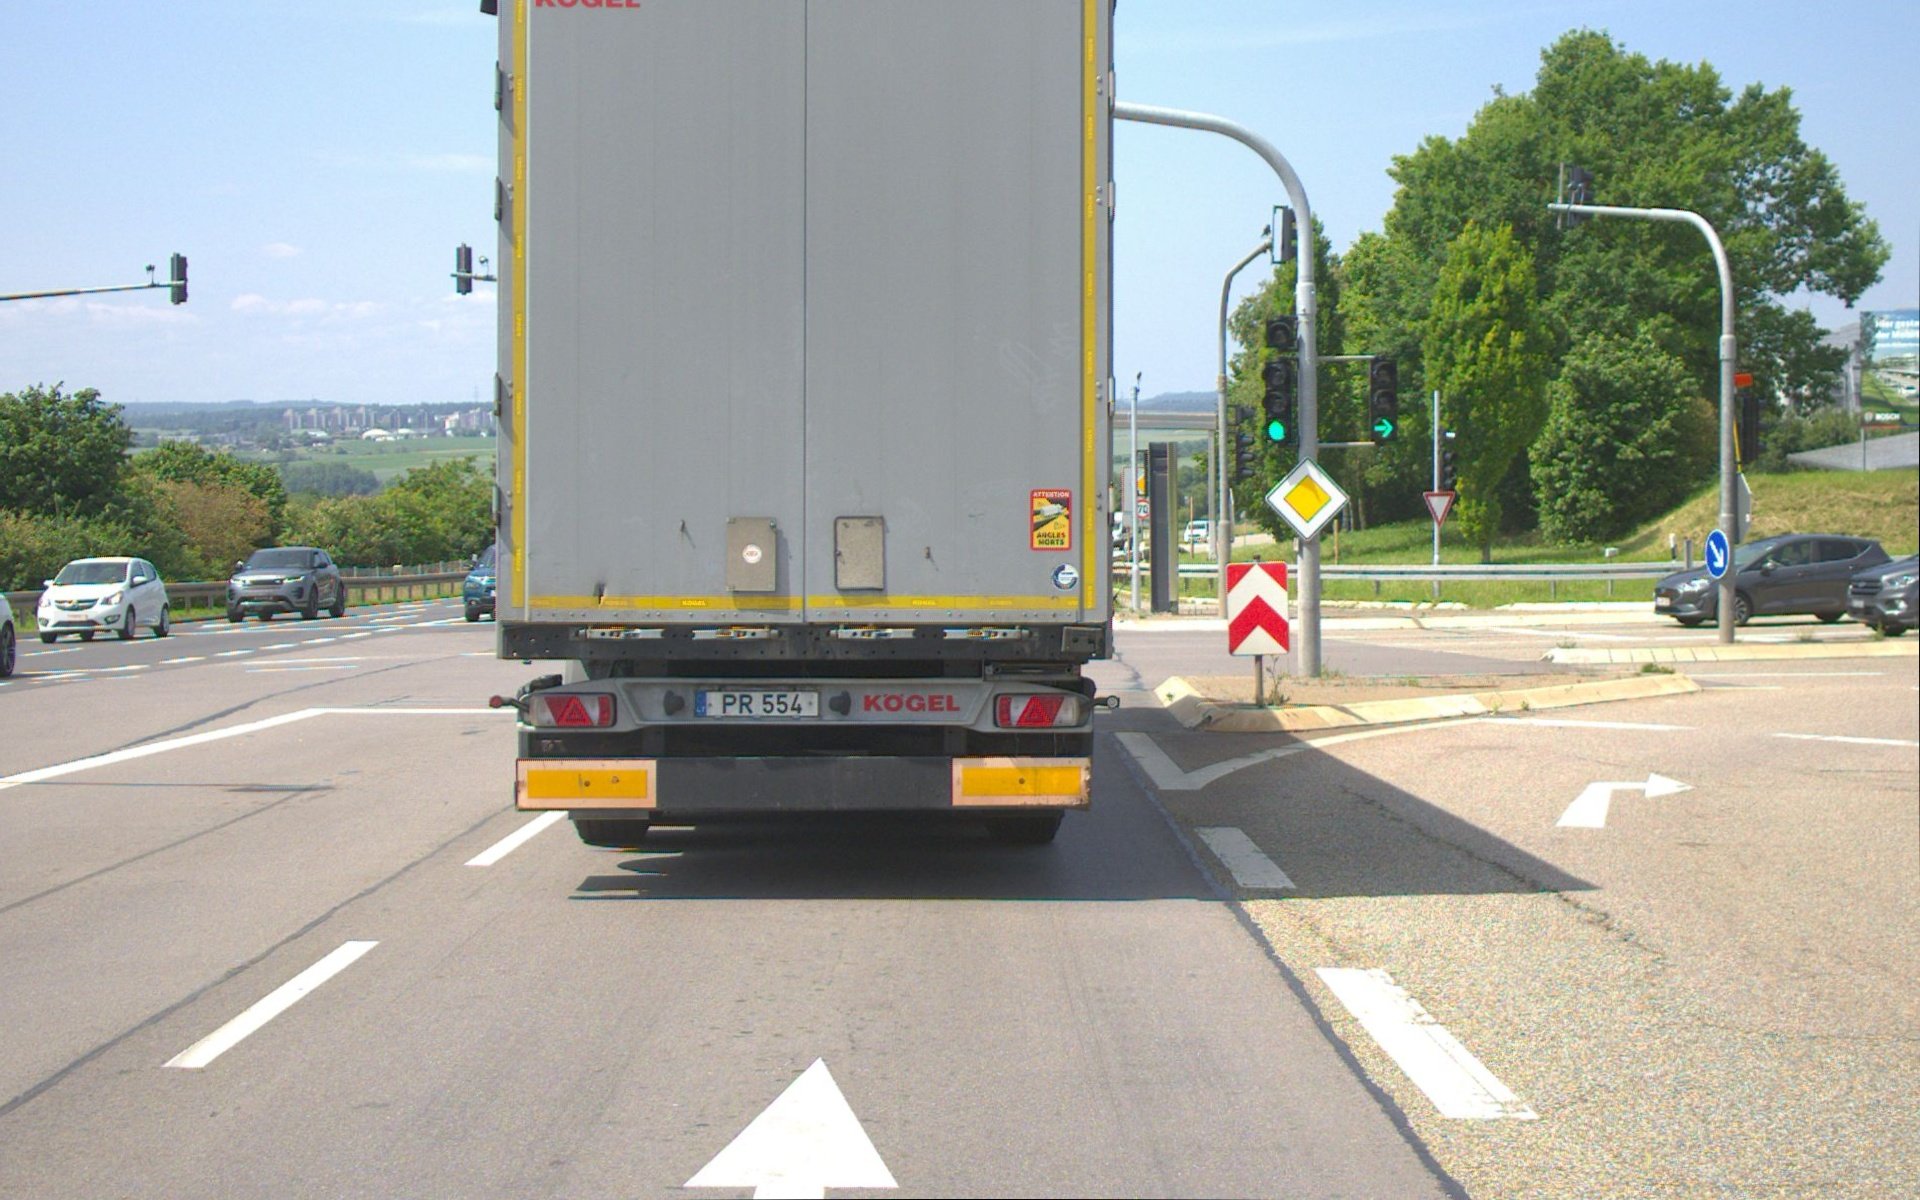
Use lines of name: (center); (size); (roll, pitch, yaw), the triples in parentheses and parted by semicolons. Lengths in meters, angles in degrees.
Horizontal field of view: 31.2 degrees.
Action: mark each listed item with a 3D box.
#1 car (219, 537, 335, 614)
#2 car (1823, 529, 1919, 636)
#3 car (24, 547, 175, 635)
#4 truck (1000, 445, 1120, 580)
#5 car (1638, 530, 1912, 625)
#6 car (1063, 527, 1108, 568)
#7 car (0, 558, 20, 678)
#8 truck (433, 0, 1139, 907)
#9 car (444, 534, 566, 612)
car: (-15.162, -0.552, 76.529); (1.644, 1.618, 4.328); (-2, 0, 0)
car: (14.908, -0.265, 49.826); (4.357, 1.505, 1.717); (0, 1, -12)
car: (-15.442, -0.179, 61.878); (1.644, 1.491, 3.801); (-2, 0, 2)
truck: (3.044, -2.500, 101.669); (2.656, 3.751, 10.159); (1, 0, 6)
car: (13.267, -0.373, 56.063); (3.986, 1.505, 1.717); (0, 1, -9)
car: (5.342, -2.216, 145.934); (1.786, 1.682, 3.999); (1, 0, 4)
car: (-12.259, 0.238, 39.586); (1.772, 1.429, 4.000); (-1, 0, 0)
truck: (-0.933, -0.831, 19.554); (2.799, 3.916, 11.343); (1, 1, -2)
car: (-8.877, -0.552, 67.313); (1.755, 1.464, 4.196); (0, 1, 1)
